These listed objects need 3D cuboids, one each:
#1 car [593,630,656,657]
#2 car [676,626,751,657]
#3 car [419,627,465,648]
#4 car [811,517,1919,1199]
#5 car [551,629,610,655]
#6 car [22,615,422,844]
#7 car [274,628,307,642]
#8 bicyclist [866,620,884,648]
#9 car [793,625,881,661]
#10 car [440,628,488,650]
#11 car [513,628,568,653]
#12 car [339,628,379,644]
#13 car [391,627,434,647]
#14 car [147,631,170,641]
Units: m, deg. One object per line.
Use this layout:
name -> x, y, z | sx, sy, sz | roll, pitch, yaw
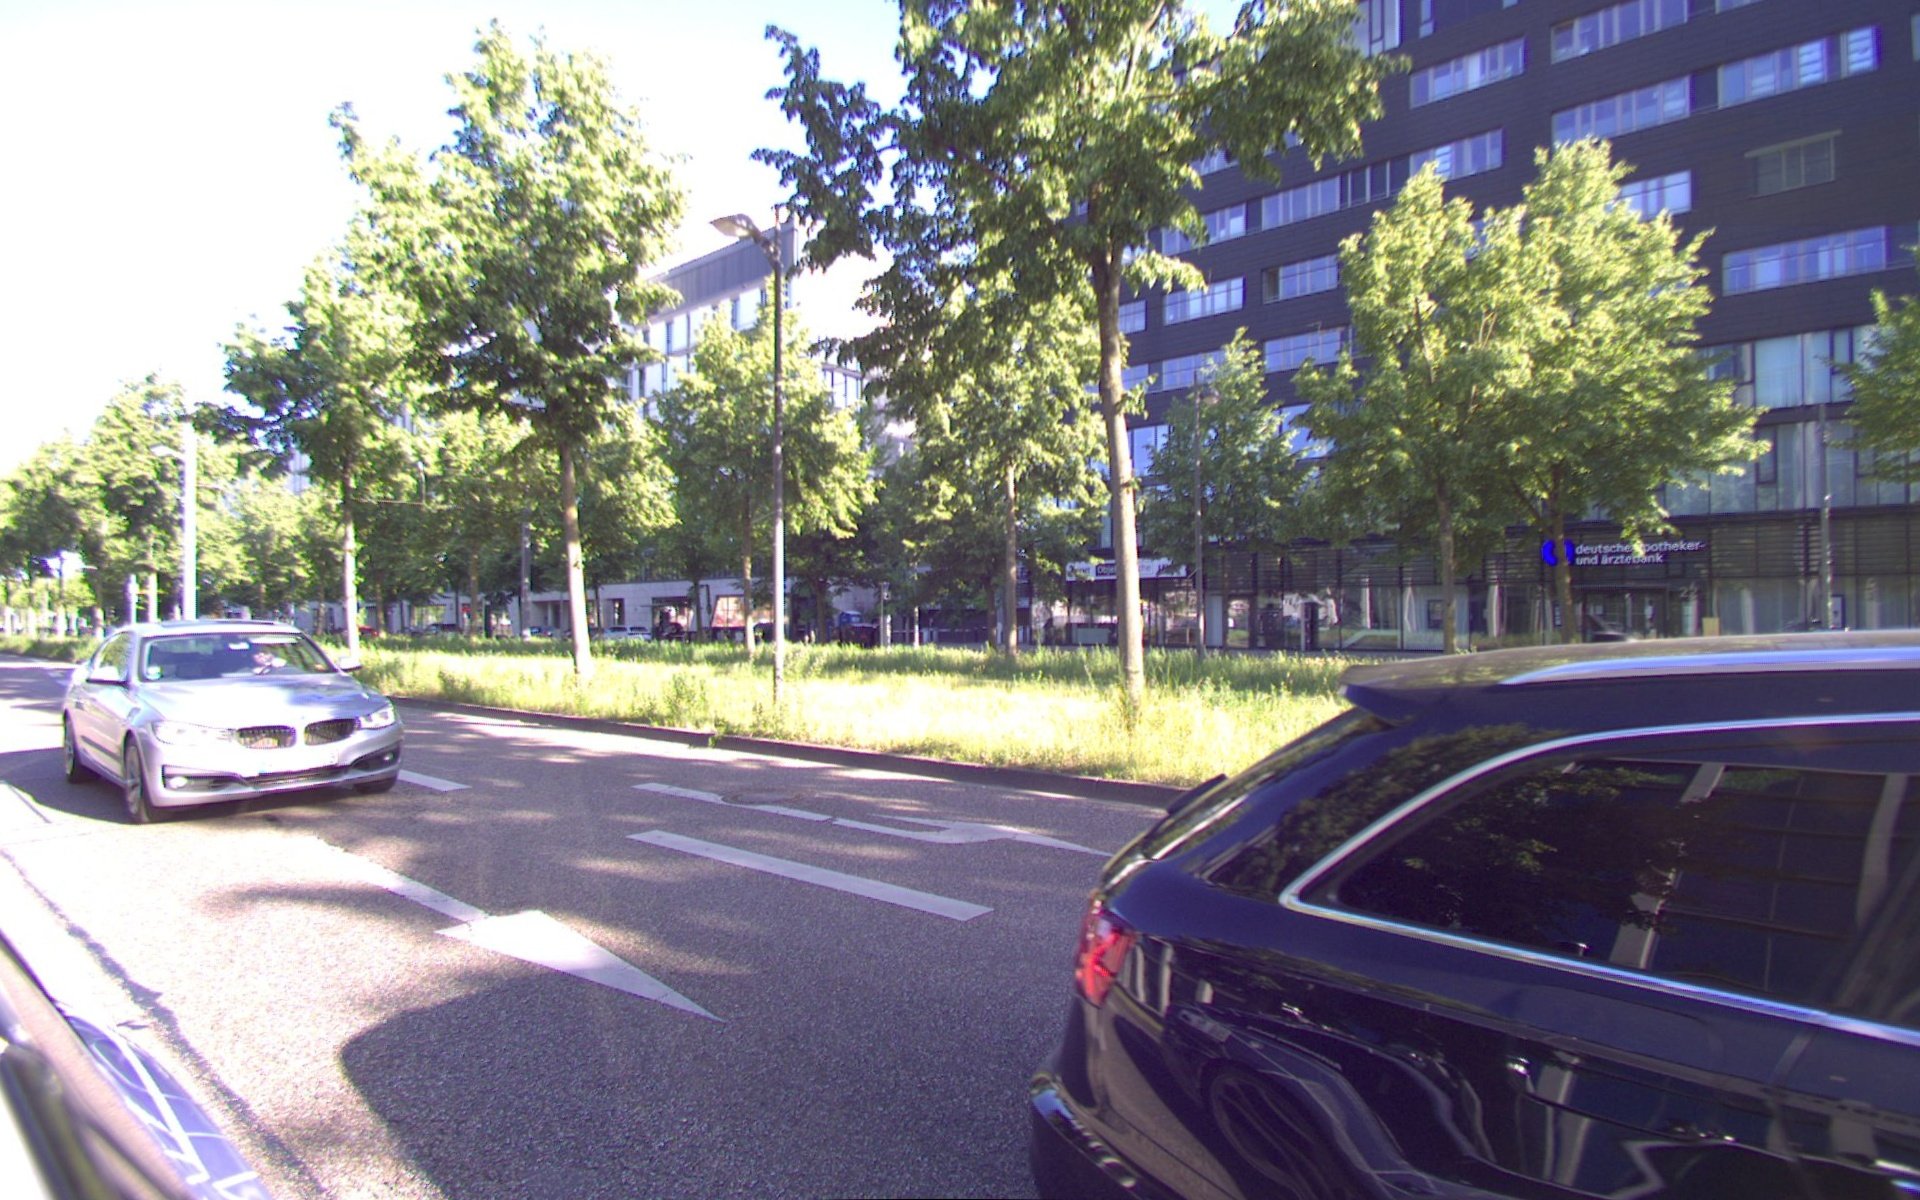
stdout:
car -> -20.711, 2.640, 62.345 | 4.182, 1.610, 1.859 | -2, -2, 41
car -> -13.462, 2.237, 55.129 | 4.181, 1.610, 1.926 | -2, -2, 41
car -> -41.308, 2.978, 80.709 | 4.182, 1.610, 1.859 | -2, -2, 41
car -> 2.204, 0.664, 1.009 | 4.963, 1.496, 1.855 | -1, -2, 40
car -> -24.873, 2.707, 66.288 | 4.182, 1.610, 1.859 | -2, -2, 41
car -> -6.581, 0.903, 8.815 | 4.558, 1.496, 1.800 | -1, -2, 40
car -> -71.659, 3.723, 108.349 | 3.998, 1.406, 1.972 | -2, -2, 41
bicyclist -> -4.324, 1.732, 51.536 | 0.820, 1.435, 0.472 | -2, -2, 41
car -> -5.938, 2.031, 48.632 | 4.181, 1.610, 1.926 | -2, -2, 41
car -> -37.846, 2.927, 77.204 | 4.182, 1.610, 1.859 | -2, -2, 41
car -> -28.903, 2.775, 69.699 | 4.182, 1.610, 1.859 | -2, -2, 41
car -> -55.212, 3.271, 92.946 | 3.995, 1.406, 1.974 | -2, -2, 39
car -> -45.764, 3.051, 84.604 | 4.182, 1.610, 1.859 | -2, -2, 41
car -> -113.820, 5.067, 143.702 | 4.001, 1.406, 1.971 | -2, -2, 44
